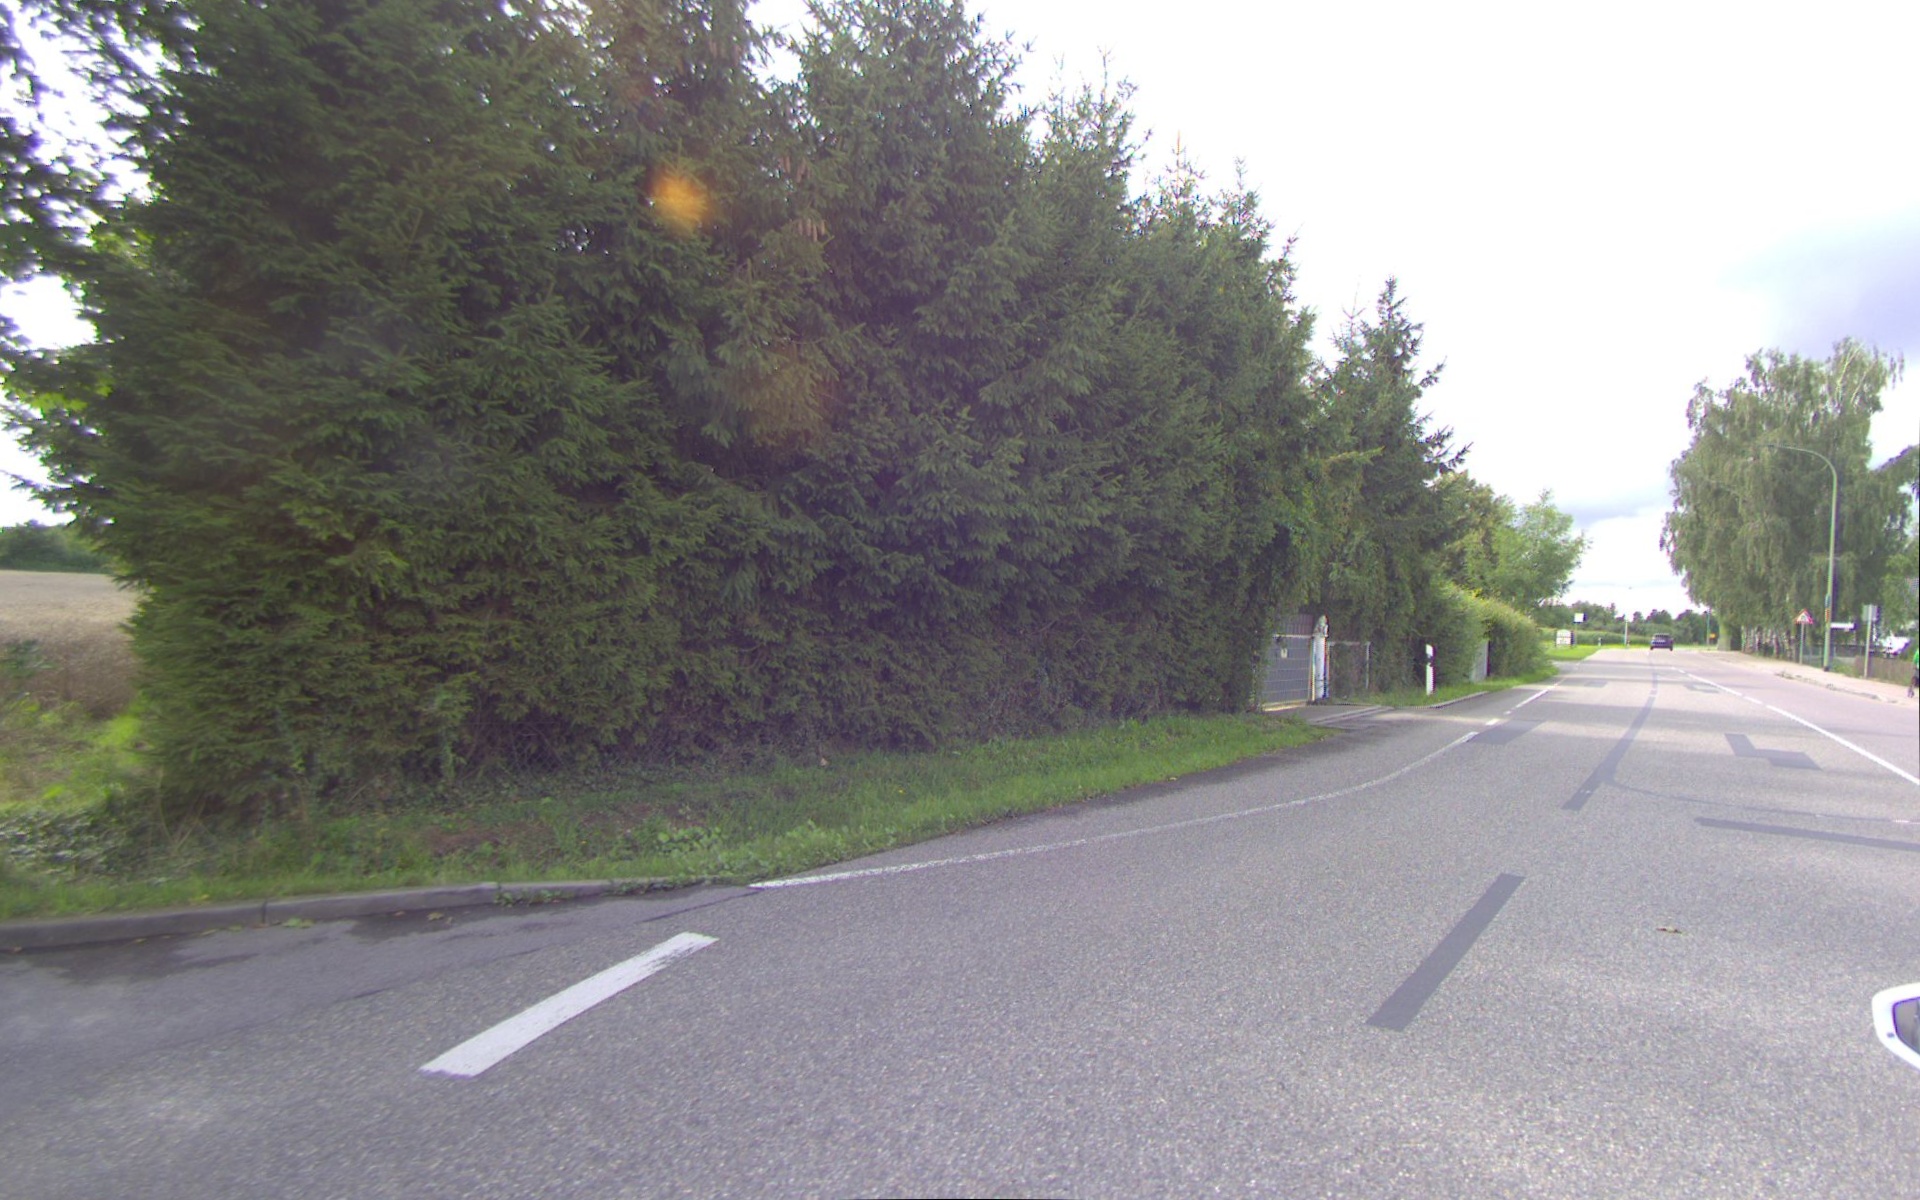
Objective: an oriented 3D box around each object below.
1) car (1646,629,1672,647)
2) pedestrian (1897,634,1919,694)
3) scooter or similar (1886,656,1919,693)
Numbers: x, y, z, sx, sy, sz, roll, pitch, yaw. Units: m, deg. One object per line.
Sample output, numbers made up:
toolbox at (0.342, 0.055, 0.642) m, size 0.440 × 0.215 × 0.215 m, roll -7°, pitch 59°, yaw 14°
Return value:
car at (67.106, 3.624, 96.492) m, size 1.967 × 1.573 × 3.987 m, roll 3°, pitch 1°, yaw 35°
pedestrian at (27.779, 1.866, 28.977) m, size 0.777 × 1.687 × 0.711 m, roll 7°, pitch 3°, yaw 30°
scooter or similar at (27.956, 2.201, 29.705) m, size 0.621 × 0.960 × 0.621 m, roll 7°, pitch 3°, yaw 30°
